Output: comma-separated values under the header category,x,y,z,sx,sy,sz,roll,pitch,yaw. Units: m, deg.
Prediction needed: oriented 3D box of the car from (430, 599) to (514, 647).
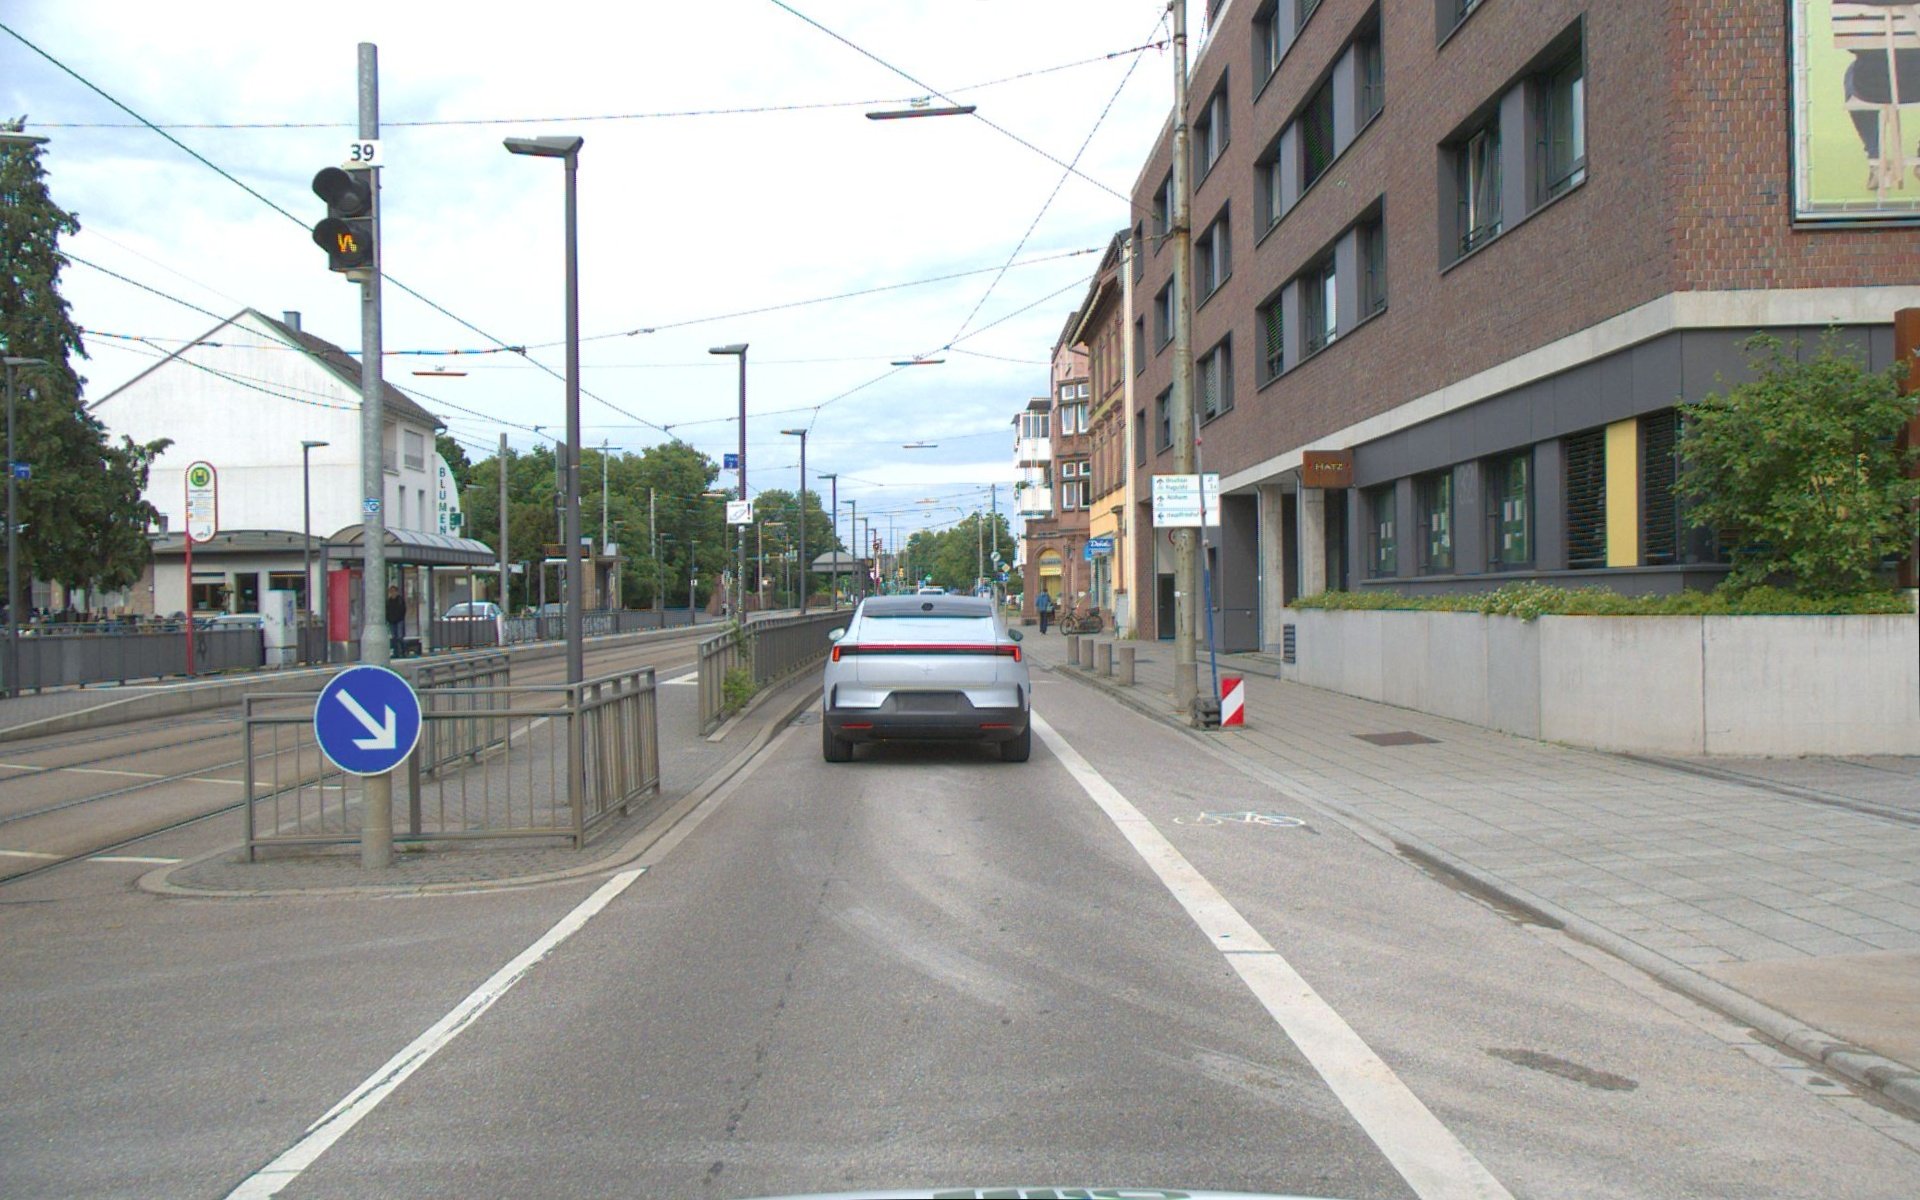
category,x,y,z,sx,sy,sz,roll,pitch,yaw
car,-17.228,0.787,58.565,1.827,1.512,3.998,-3,0,-2

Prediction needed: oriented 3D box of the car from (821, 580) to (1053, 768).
category,x,y,z,sx,sy,sz,roll,pitch,yaw
car,-0.358,0.657,16.270,1.960,1.608,3.995,0,-1,-6

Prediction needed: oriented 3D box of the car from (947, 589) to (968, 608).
category,x,y,z,sx,sy,sz,roll,pitch,yaw
car,-0.408,-0.174,224.475,2.750,2.549,5.721,0,0,-1

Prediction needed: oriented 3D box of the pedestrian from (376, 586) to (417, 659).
category,x,y,z,sx,sy,sz,roll,pitch,yaw
pedestrian,-13.289,0.523,39.026,0.603,1.694,0.697,0,-1,24

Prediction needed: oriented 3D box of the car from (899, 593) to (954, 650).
category,x,y,z,sx,sy,sz,roll,pitch,yaw
car,-1.044,0.666,51.563,1.647,1.717,3.823,0,0,-1

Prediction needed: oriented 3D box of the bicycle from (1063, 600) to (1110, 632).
category,x,y,z,sx,sy,sz,roll,pitch,yaw
bicycle,4.974,0.642,65.094,1.742,1.149,0.642,-3,0,-2

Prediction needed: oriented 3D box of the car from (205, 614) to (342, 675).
category,x,y,z,sx,sy,sz,roll,pitch,yaw
car,-16.295,1.025,39.469,1.715,1.321,3.832,-2,0,-2

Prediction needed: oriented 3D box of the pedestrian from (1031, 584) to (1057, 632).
category,x,y,z,sx,sy,sz,roll,pitch,yaw
pedestrian,3.445,0.314,67.498,0.940,1.882,0.976,-3,1,5

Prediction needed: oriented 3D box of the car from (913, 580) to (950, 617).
category,x,y,z,sx,sy,sz,roll,pitch,yaw
car,-1.936,-0.073,110.707,2.182,2.444,5.118,0,0,-5
